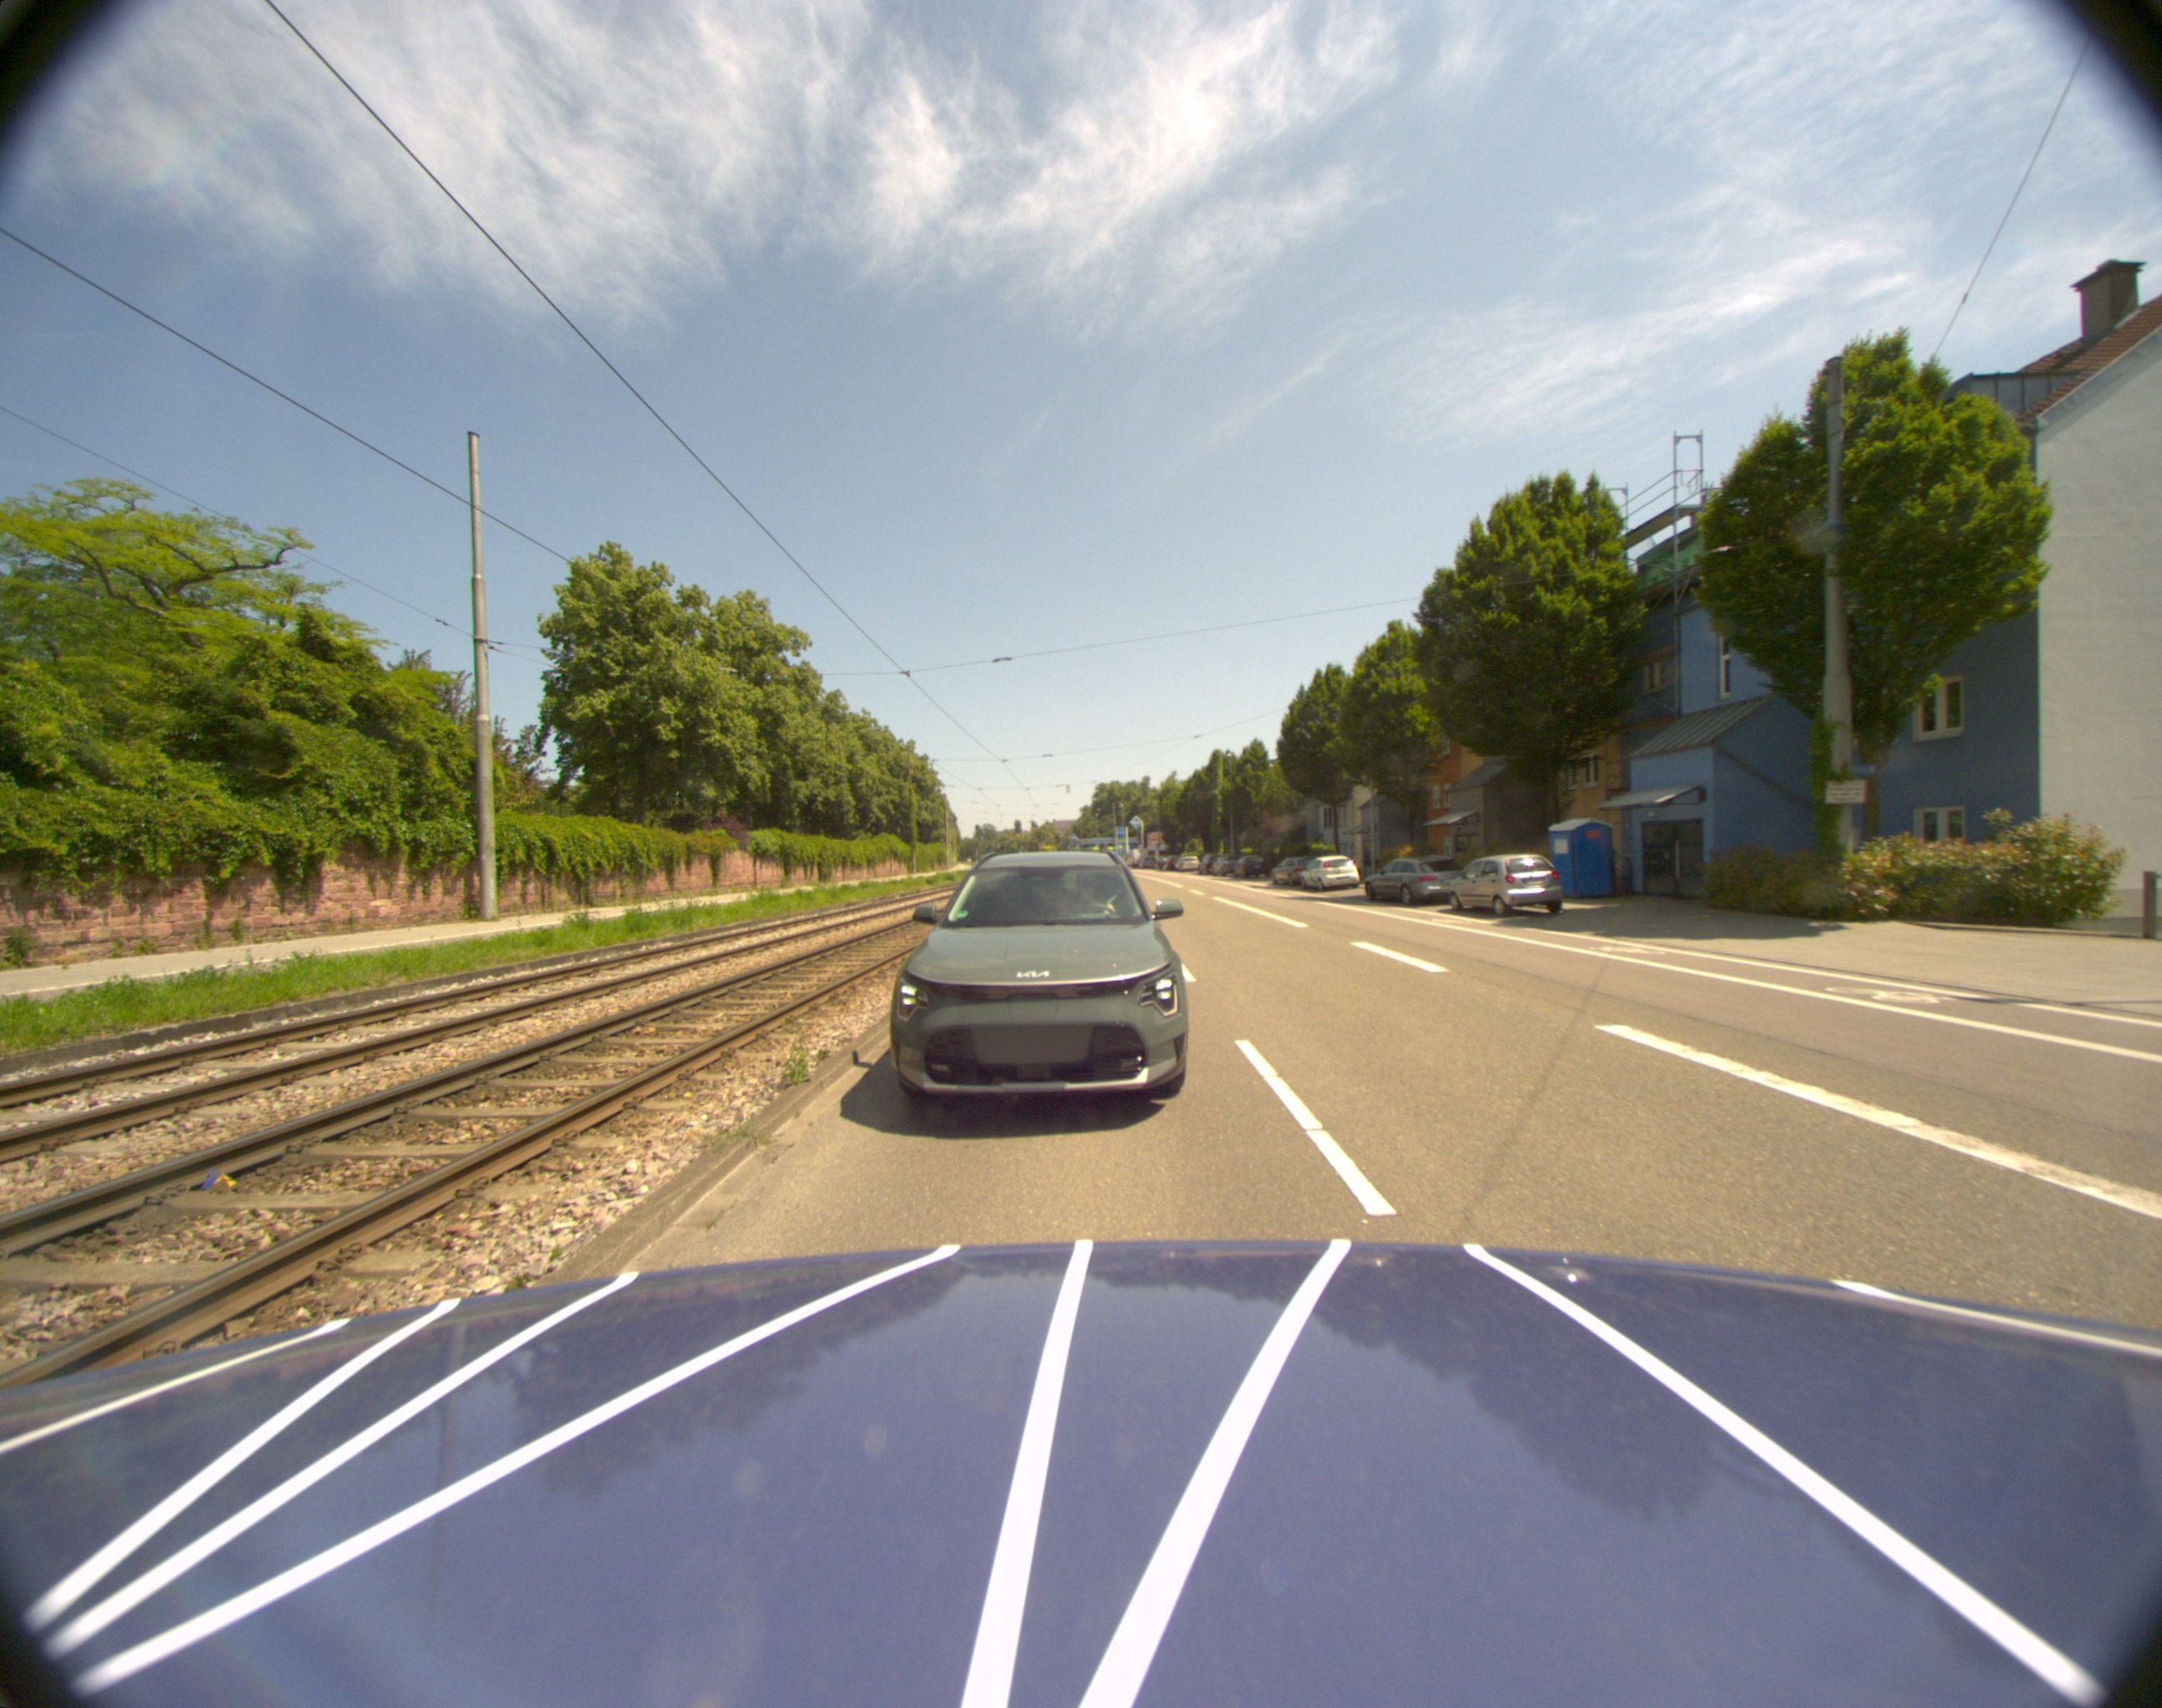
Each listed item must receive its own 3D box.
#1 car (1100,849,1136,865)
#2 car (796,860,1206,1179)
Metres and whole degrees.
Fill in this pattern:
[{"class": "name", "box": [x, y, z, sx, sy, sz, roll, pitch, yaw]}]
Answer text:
[{"class": "car", "box": [5.935, 0.454, 121.411, 5.219, 2.294, 2.288, -3, 0, 16]}, {"class": "car", "box": [-0.320, 0.889, 5.955, 2.062, 1.534, 4.001, -4, 0, 3]}]
